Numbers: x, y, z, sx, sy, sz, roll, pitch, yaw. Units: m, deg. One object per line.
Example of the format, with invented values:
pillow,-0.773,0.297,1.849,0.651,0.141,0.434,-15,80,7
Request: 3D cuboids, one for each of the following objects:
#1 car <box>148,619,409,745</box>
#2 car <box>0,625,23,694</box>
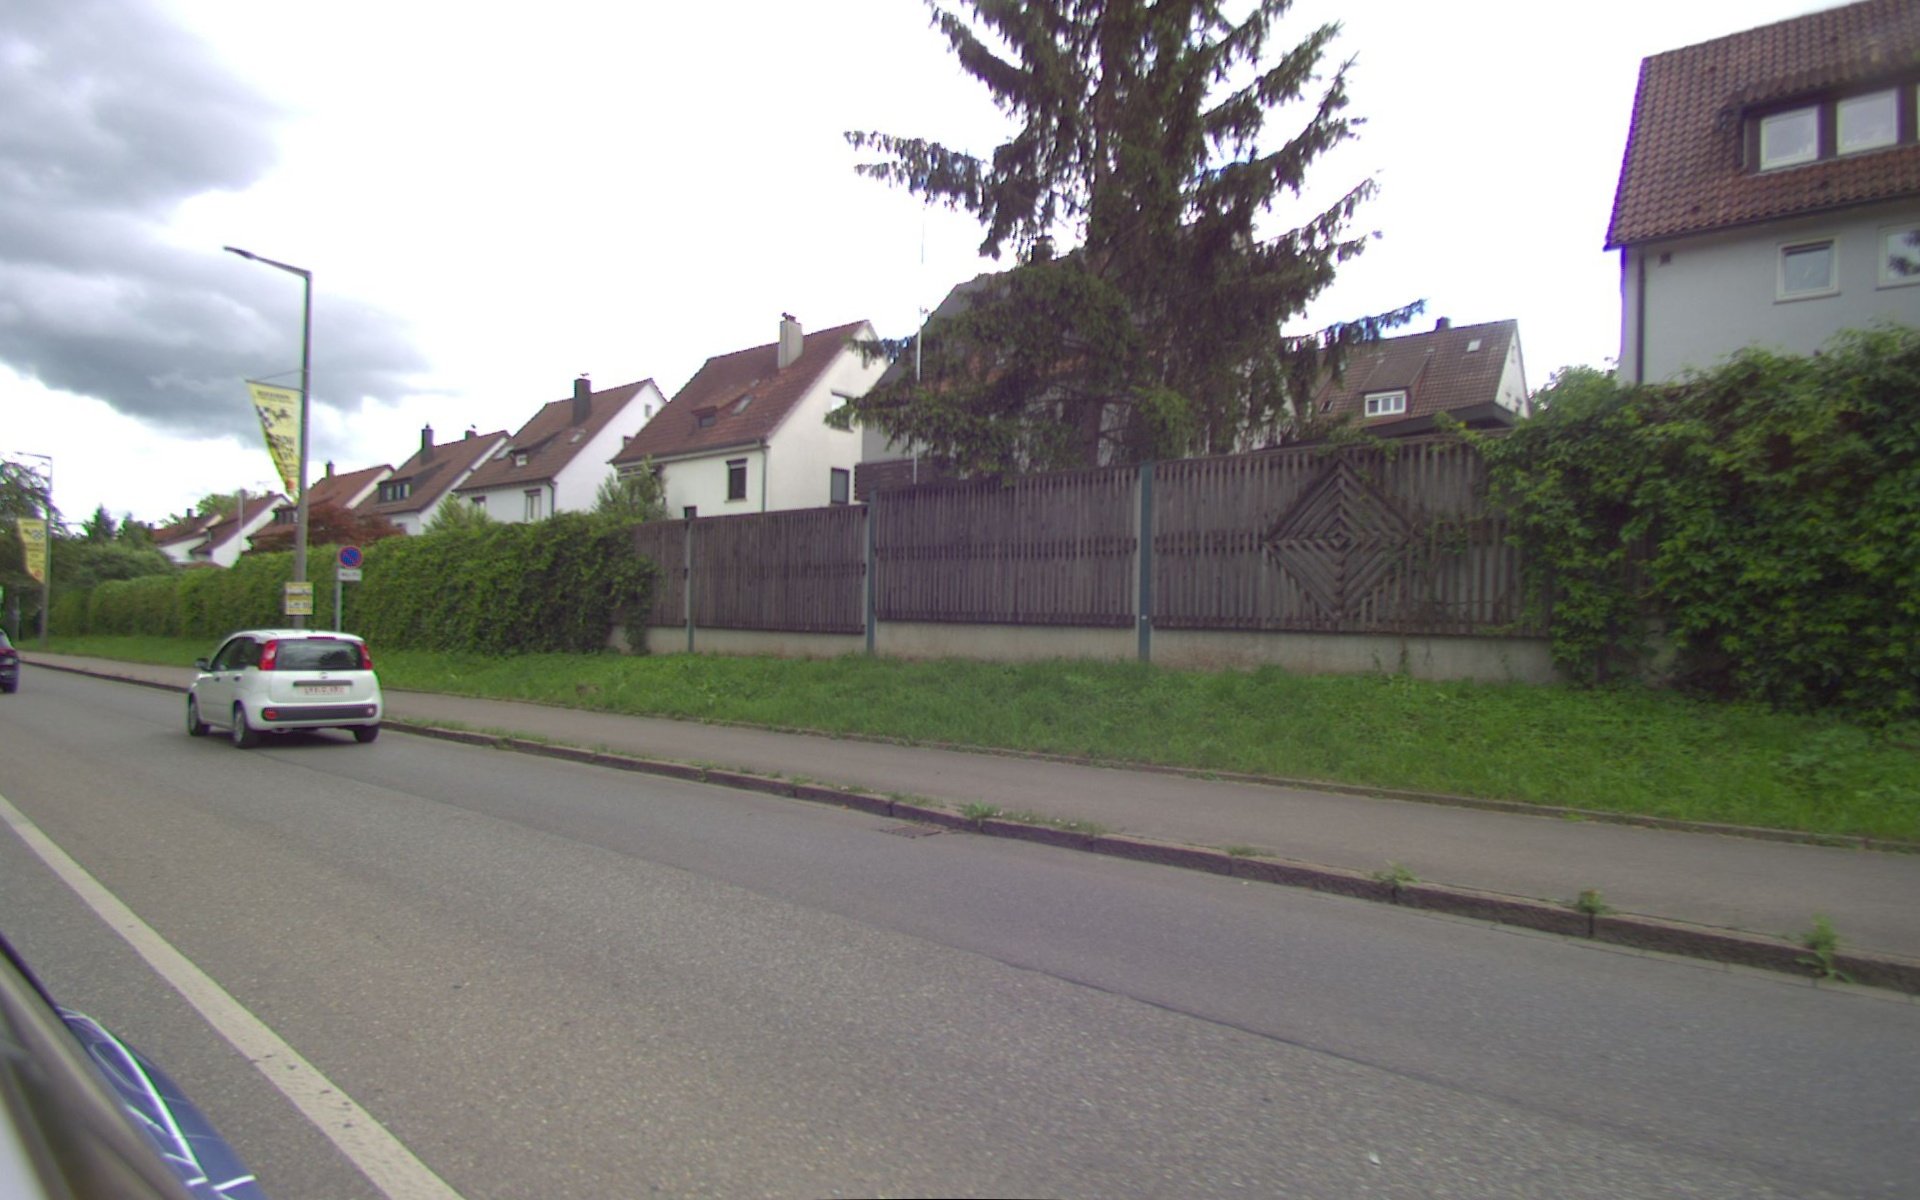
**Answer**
car,-9.868,1.084,14.516,4.696,1.536,1.794,-1,-4,39
car,-23.326,1.332,23.436,4.173,1.536,1.794,-1,-4,40
